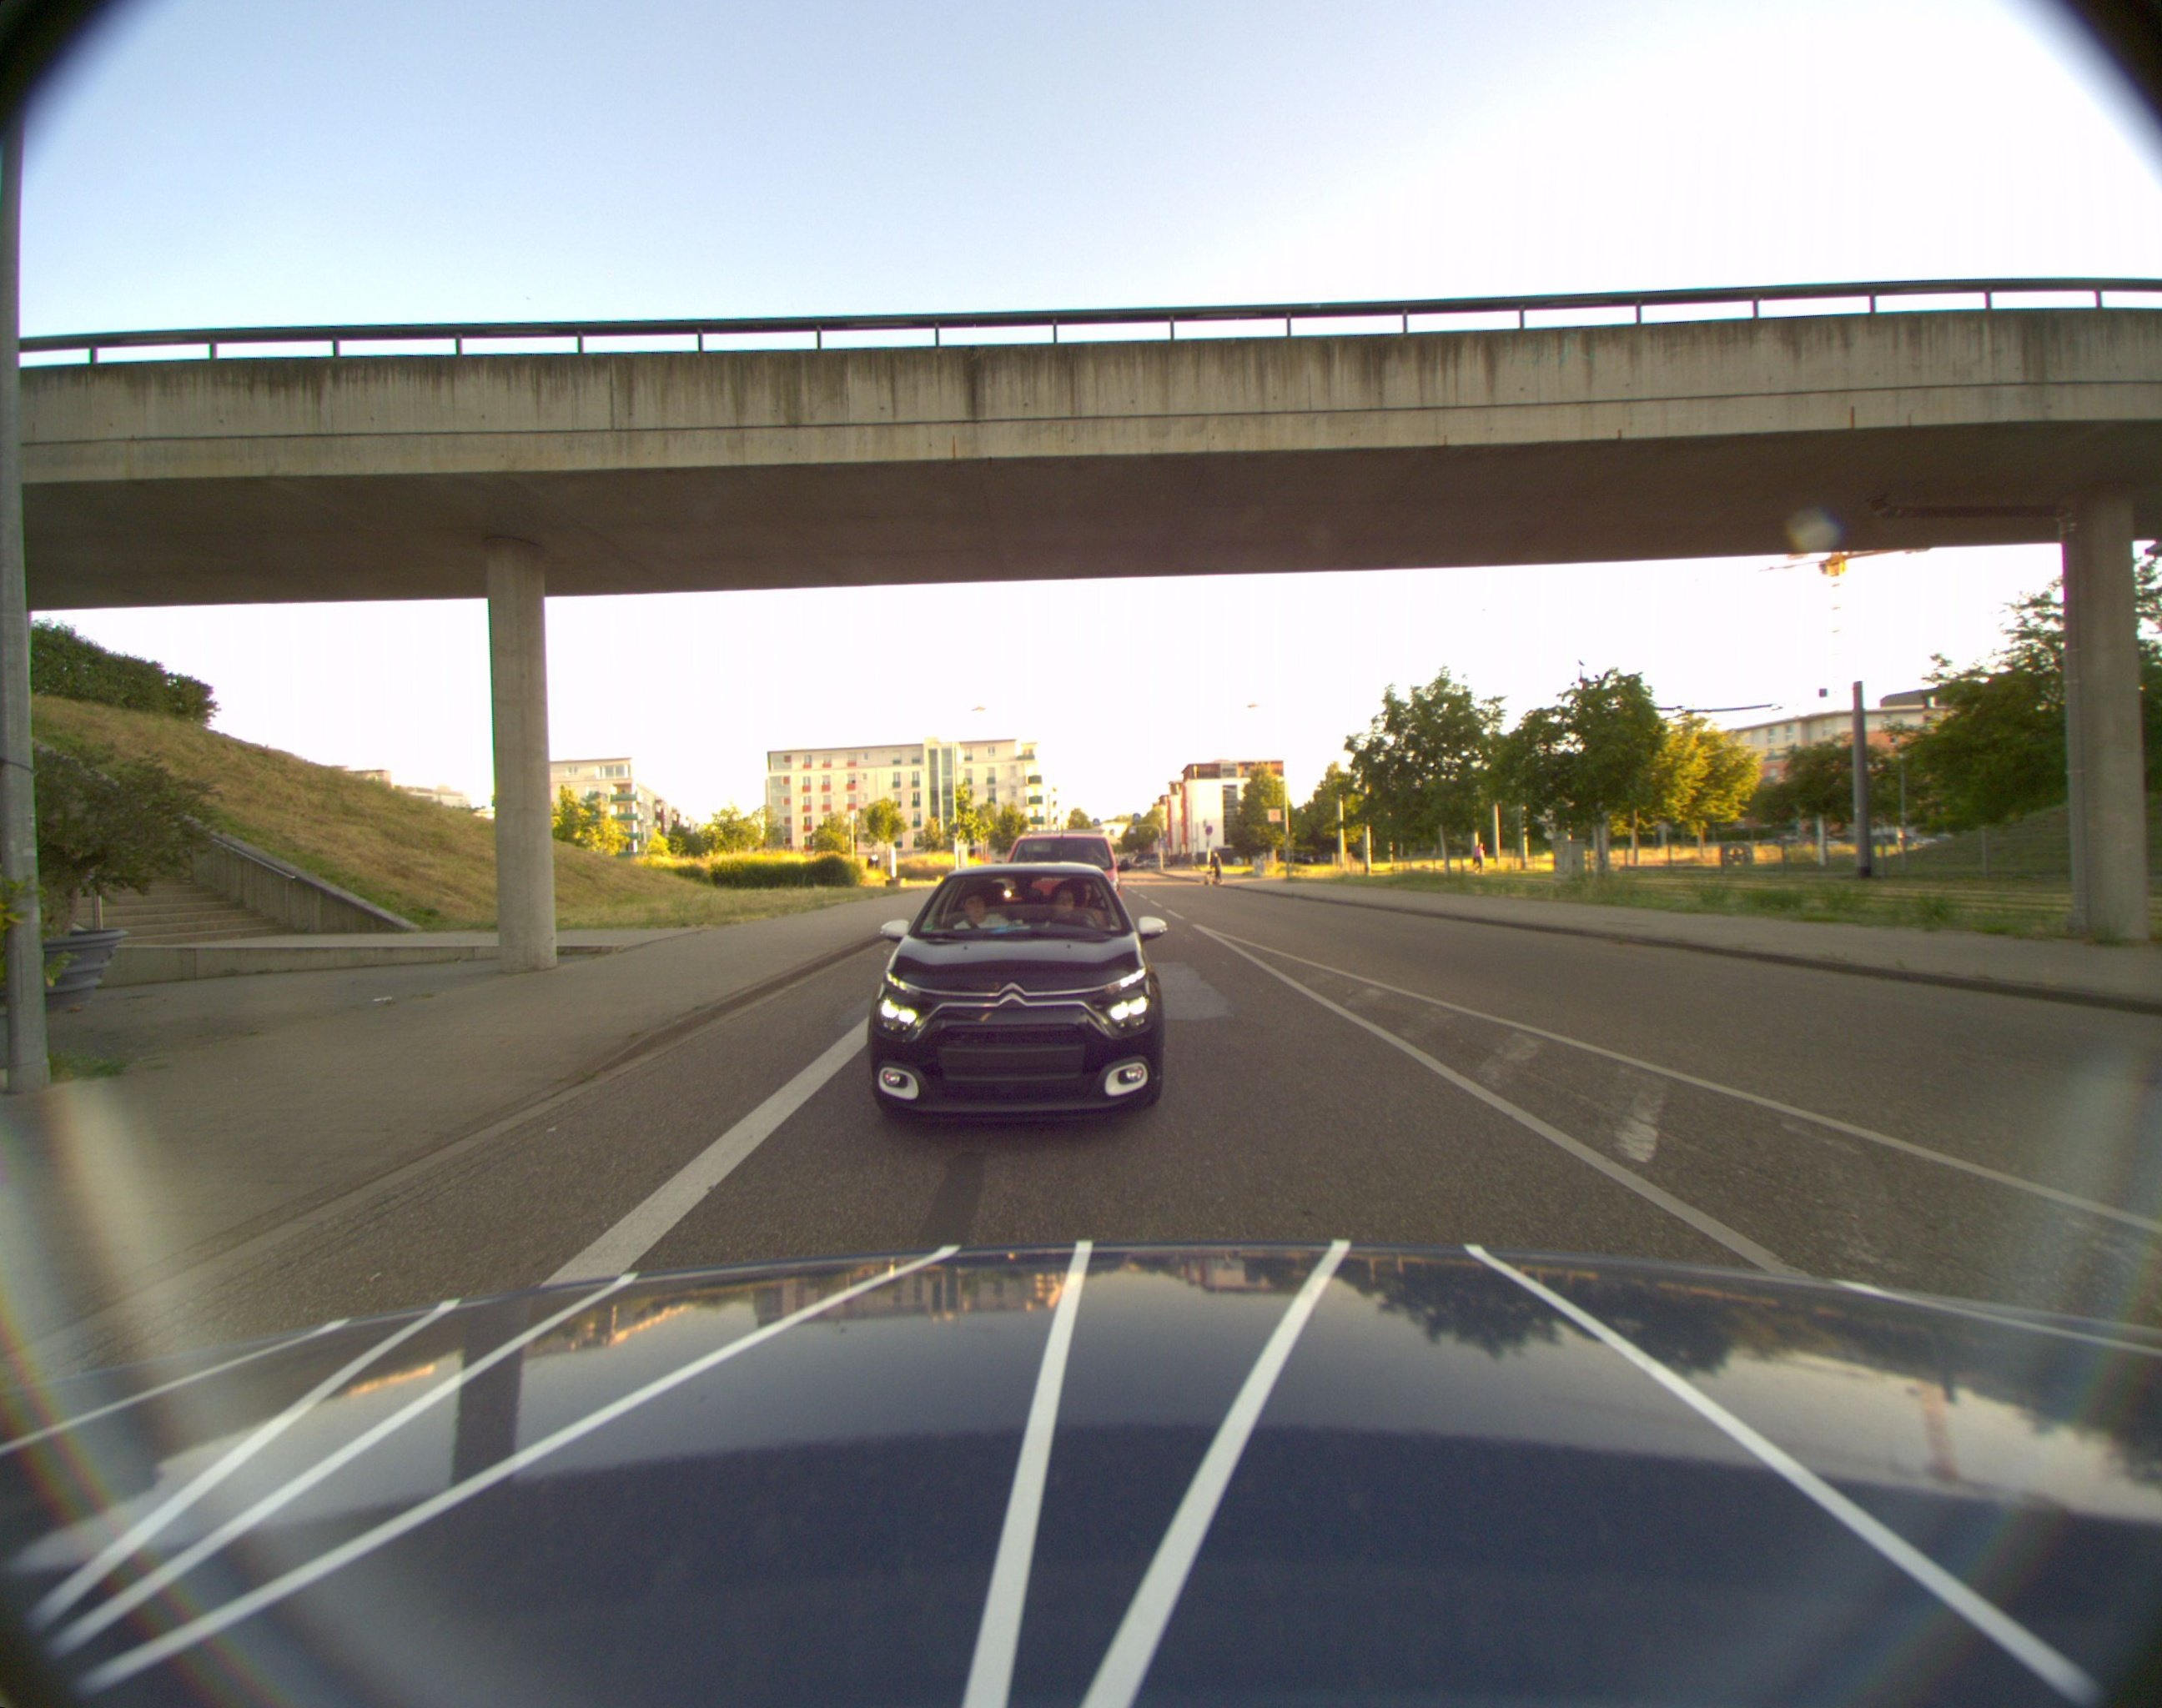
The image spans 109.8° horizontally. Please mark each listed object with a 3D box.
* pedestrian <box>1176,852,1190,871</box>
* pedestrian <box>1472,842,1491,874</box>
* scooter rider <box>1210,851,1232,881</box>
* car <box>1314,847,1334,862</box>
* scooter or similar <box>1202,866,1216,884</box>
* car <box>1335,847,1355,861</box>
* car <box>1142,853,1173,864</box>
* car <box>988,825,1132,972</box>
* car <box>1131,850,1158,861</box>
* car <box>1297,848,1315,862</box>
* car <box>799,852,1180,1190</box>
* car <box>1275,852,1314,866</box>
[{"bbox_3d":[11.256,0.853,83.792,1.088,2.002,1.141,-2,1,29],"label":"pedestrian"},{"bbox_3d":[20.906,0.213,39.682,0.779,1.602,0.417,-2,0,12],"label":"pedestrian"},{"bbox_3d":[7.356,0.621,39.982,0.898,1.568,0.711,-2,0,-7],"label":"scooter rider"},{"bbox_3d":[30.993,0.046,96.848,1.869,1.710,3.848,-2,0,9],"label":"car"},{"bbox_3d":[6.719,1.091,39.918,0.553,0.890,0.722,-1,1,-8],"label":"scooter or similar"},{"bbox_3d":[33.504,-0.048,96.574,1.869,1.710,3.848,-2,0,12],"label":"car"},{"bbox_3d":[11.463,0.659,113.990,4.387,1.550,1.839,-2,1,2],"label":"car"},{"bbox_3d":[-0.320,0.637,13.103,1.931,1.979,4.822,-3,0,-1],"label":"car"},{"bbox_3d":[12.064,0.301,144.168,4.745,2.002,1.999,-2,1,-2],"label":"car"},{"bbox_3d":[28.771,0.133,97.183,1.869,1.710,3.848,-2,0,12],"label":"car"},{"bbox_3d":[-0.480,0.799,5.663,1.760,1.543,4.071,-2,0,-2],"label":"car"},{"bbox_3d":[25.310,0.572,90.113,3.997,1.554,2.000,-2,0,1],"label":"car"}]
